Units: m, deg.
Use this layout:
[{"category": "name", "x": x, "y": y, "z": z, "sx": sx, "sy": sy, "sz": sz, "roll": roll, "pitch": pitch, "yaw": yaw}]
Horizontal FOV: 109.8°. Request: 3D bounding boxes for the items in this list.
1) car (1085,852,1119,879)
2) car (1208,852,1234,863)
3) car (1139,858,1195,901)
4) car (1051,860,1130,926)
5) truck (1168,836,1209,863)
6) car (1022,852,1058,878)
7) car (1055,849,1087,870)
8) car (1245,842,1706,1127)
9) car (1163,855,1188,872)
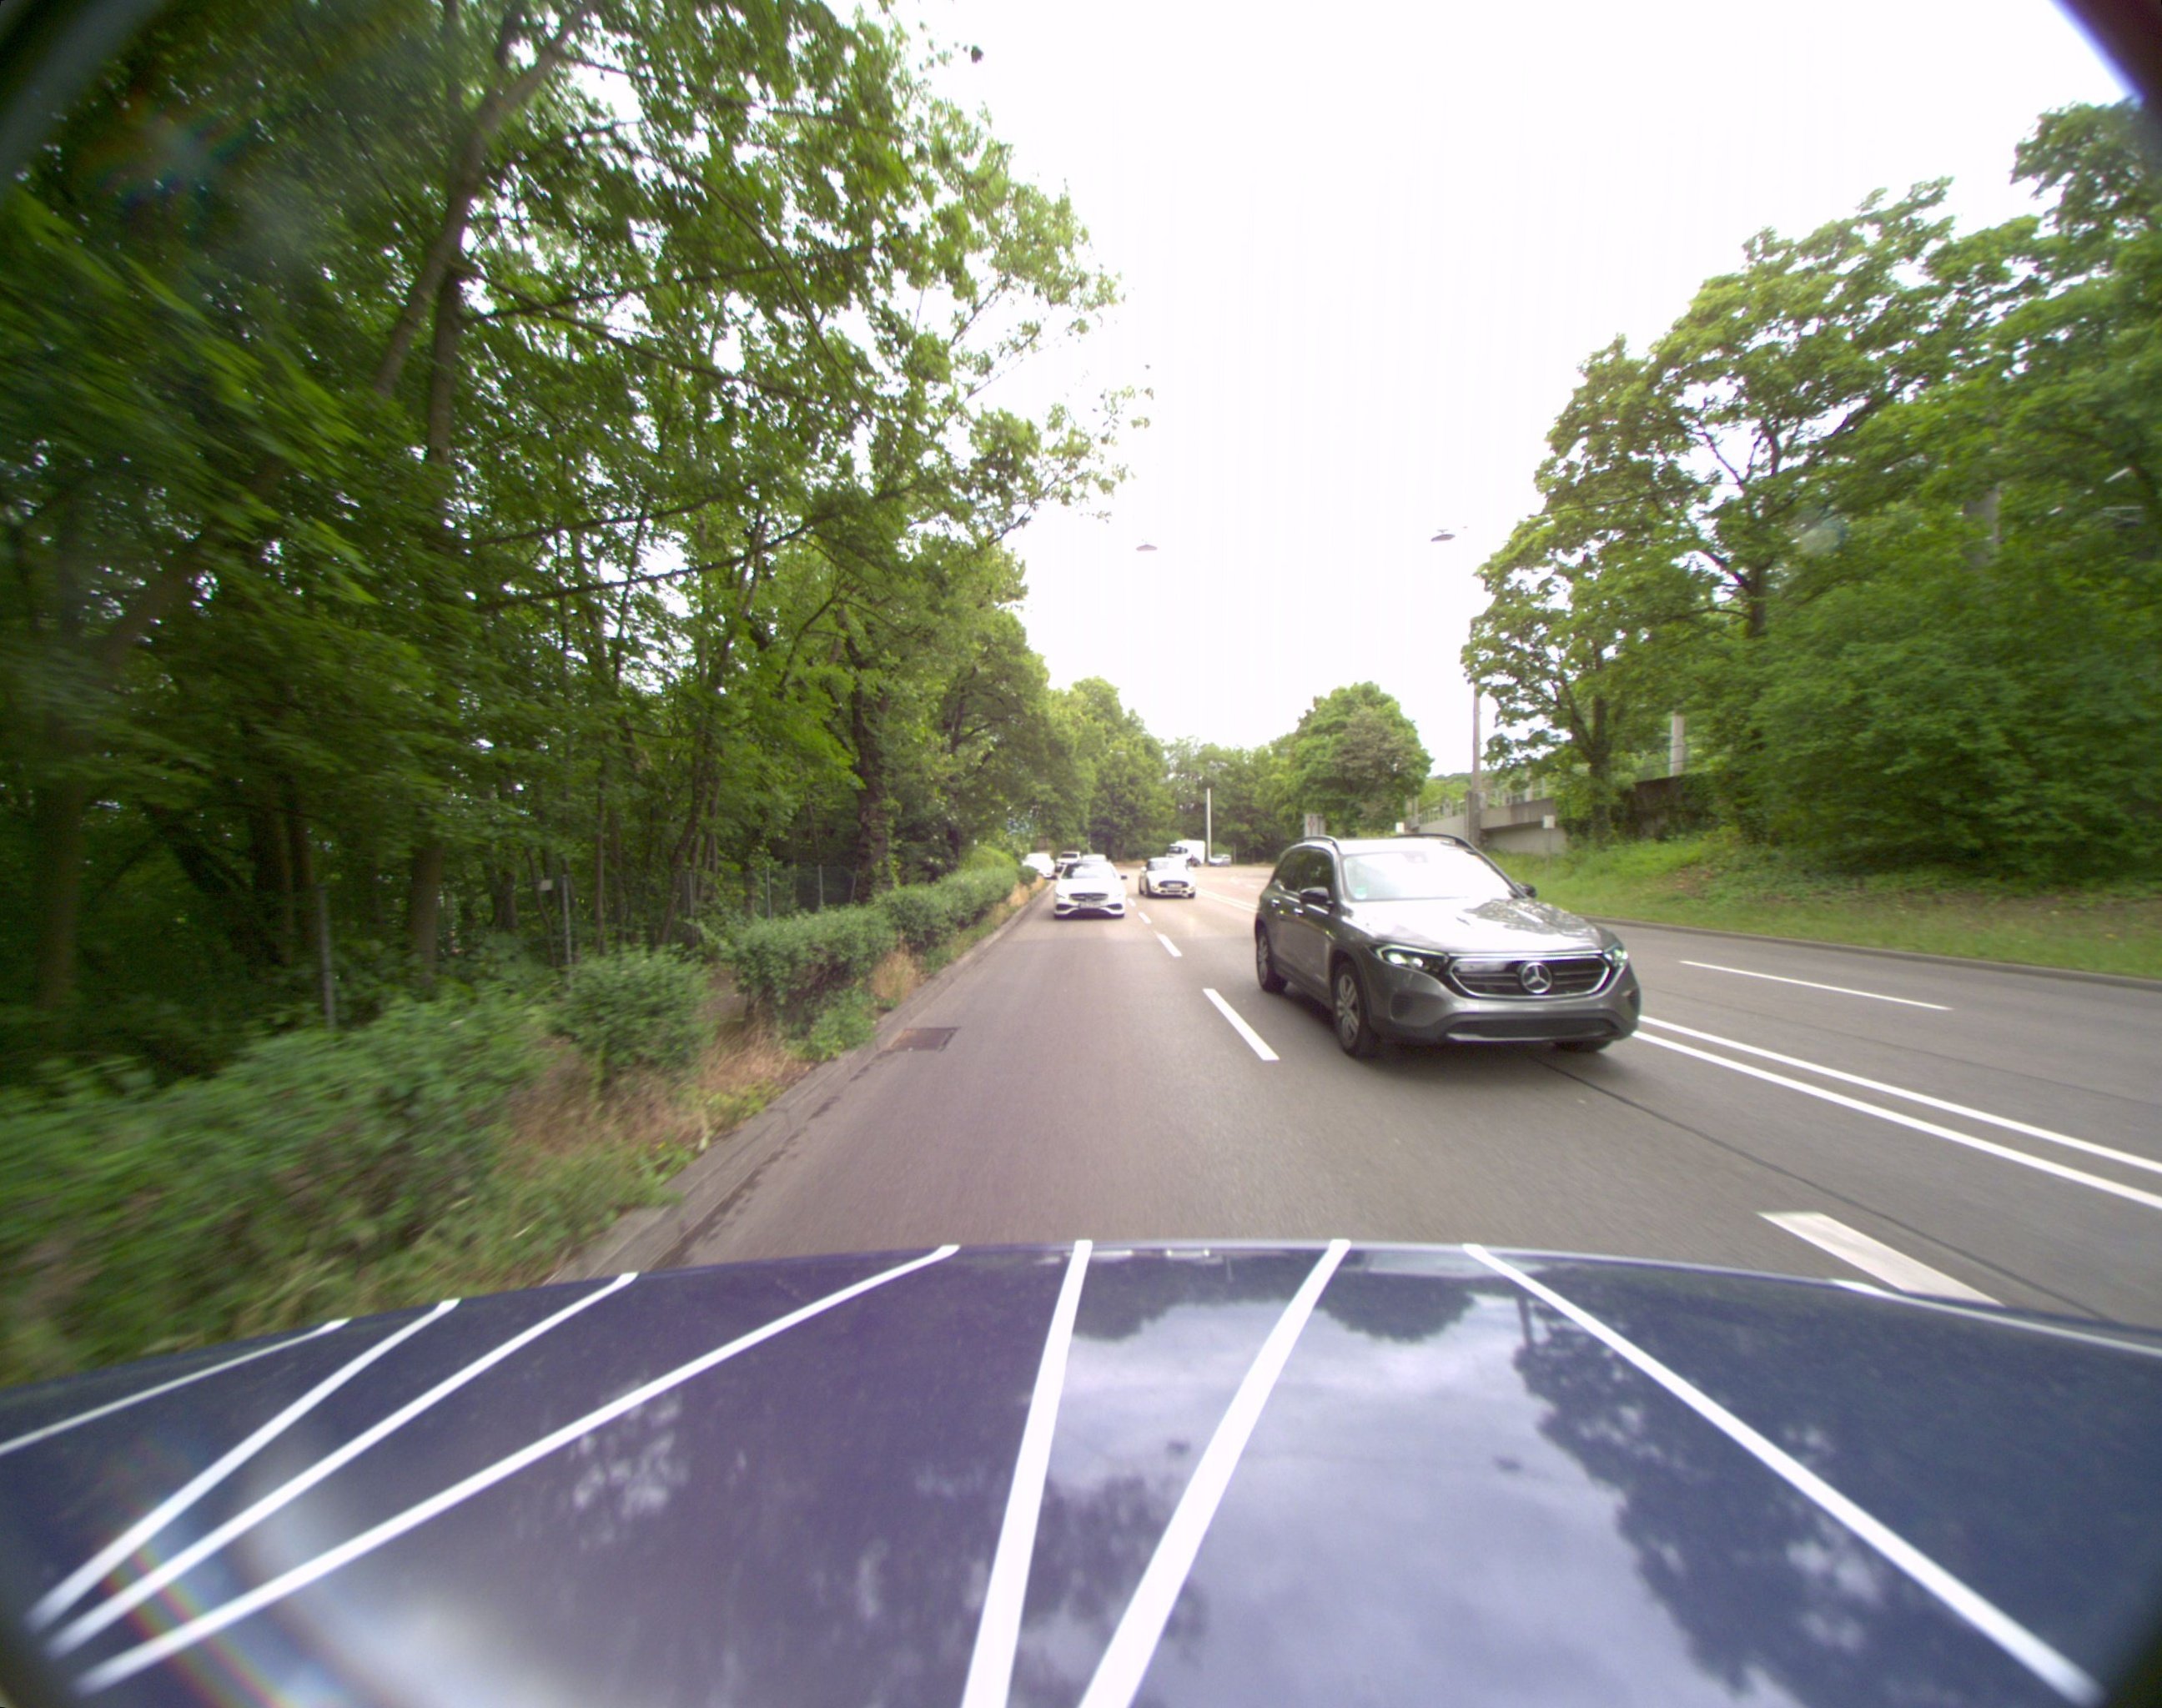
[{"category": "car", "x": 1.266, "y": 0.663, "z": 45.204, "sx": 1.755, "sy": 1.417, "sz": 4.011, "roll": 3, "pitch": 1, "yaw": 4}, {"category": "car", "x": 18.390, "y": 0.493, "z": 99.678, "sx": 1.751, "sy": 1.354, "sz": 4.019, "roll": 3, "pitch": 1, "yaw": 34}, {"category": "car", "x": 3.119, "y": 0.883, "z": 28.130, "sx": 1.688, "sy": 1.415, "sz": 3.733, "roll": -2, "pitch": 0, "yaw": 1}, {"category": "car", "x": 0.269, "y": 0.912, "z": 19.426, "sx": 1.801, "sy": 1.470, "sz": 4.011, "roll": 0, "pitch": 0, "yaw": 1}, {"category": "truck", "x": 13.067, "y": -0.509, "z": 91.919, "sx": 2.195, "sy": 3.137, "sz": 6.665, "roll": 1, "pitch": 0, "yaw": 34}, {"category": "car", "x": -2.318, "y": 0.603, "z": 43.965, "sx": 1.765, "sy": 1.433, "sz": 3.892, "roll": 1, "pitch": 0, "yaw": 1}, {"category": "car", "x": -0.733, "y": 0.405, "z": 59.341, "sx": 1.754, "sy": 1.575, "sz": 4.014, "roll": 1, "pitch": 0, "yaw": 11}, {"category": "car", "x": 2.795, "y": 0.779, "z": 6.671, "sx": 1.854, "sy": 1.641, "sz": 4.358, "roll": -2, "pitch": 0, "yaw": 2}, {"category": "car", "x": 8.441, "y": 0.842, "z": 67.426, "sx": 1.662, "sy": 1.382, "sz": 4.187, "roll": -2, "pitch": 0, "yaw": 14}]
